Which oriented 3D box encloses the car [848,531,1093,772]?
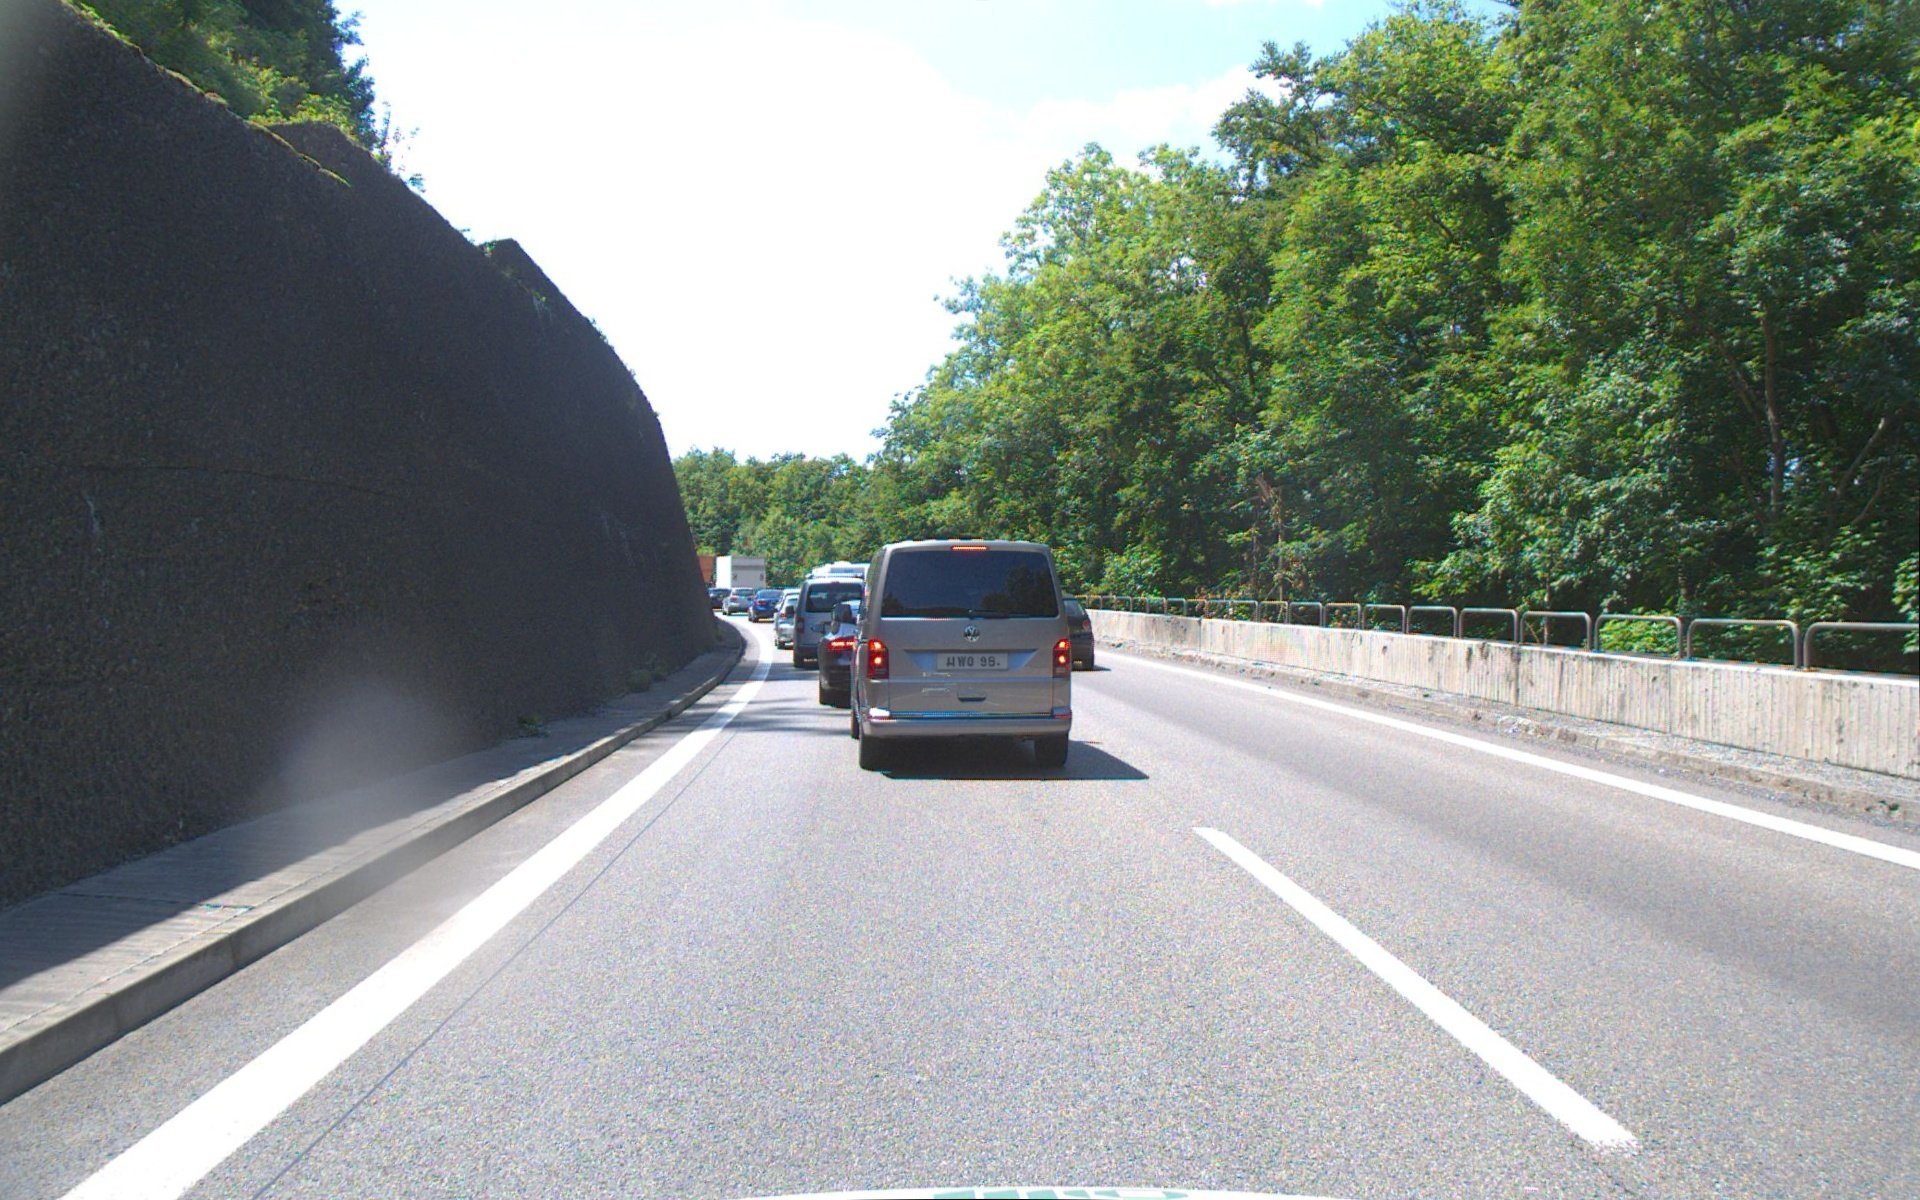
[{"bbox_3d":[-0.067,0.414,15.971,1.903,1.965,4.689,1,0,-5],"label":"car"}]

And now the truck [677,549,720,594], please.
[{"bbox_3d":[-22.772,-2.433,143.749,3.108,3.527,8.199,5,0,-11],"label":"truck"}]

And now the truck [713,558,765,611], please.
[{"bbox_3d":[-16.167,-1.133,120.594,2.877,3.751,7.693,0,0,-15],"label":"truck"}]

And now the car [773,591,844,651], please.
[{"bbox_3d":[-4.134,0.540,45.632,1.737,1.497,3.997,3,0,-4],"label":"car"}]

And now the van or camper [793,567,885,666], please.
[{"bbox_3d":[-2.615,0.313,35.035,1.818,1.976,4.160,0,0,-6],"label":"van or camper"}]

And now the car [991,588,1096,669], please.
[{"bbox_3d":[1.609,0.528,33.050,1.651,1.484,3.997,2,0,-3],"label":"car"}]

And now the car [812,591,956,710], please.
[{"bbox_3d":[-1.075,0.668,24.119,1.866,1.515,4.377,2,0,-2],"label":"car"}]

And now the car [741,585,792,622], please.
[{"bbox_3d":[-8.767,0.139,74.811,1.826,1.648,3.986,0,0,-14],"label":"car"}]

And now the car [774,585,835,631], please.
[{"bbox_3d":[-5.671,0.284,59.999,1.861,1.612,3.760,0,0,-11],"label":"car"}]

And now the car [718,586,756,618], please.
[{"bbox_3d":[-12.026,0.097,89.127,1.956,1.646,3.992,0,0,-9],"label":"car"}]

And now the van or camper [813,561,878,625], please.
[{"bbox_3d":[-5.849,-0.372,83.757,2.556,2.904,6.323,5,0,-9],"label":"van or camper"}]

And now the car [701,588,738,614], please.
[{"bbox_3d":[-14.724,0.053,100.950,1.723,1.598,3.754,0,0,-17],"label":"car"}]
